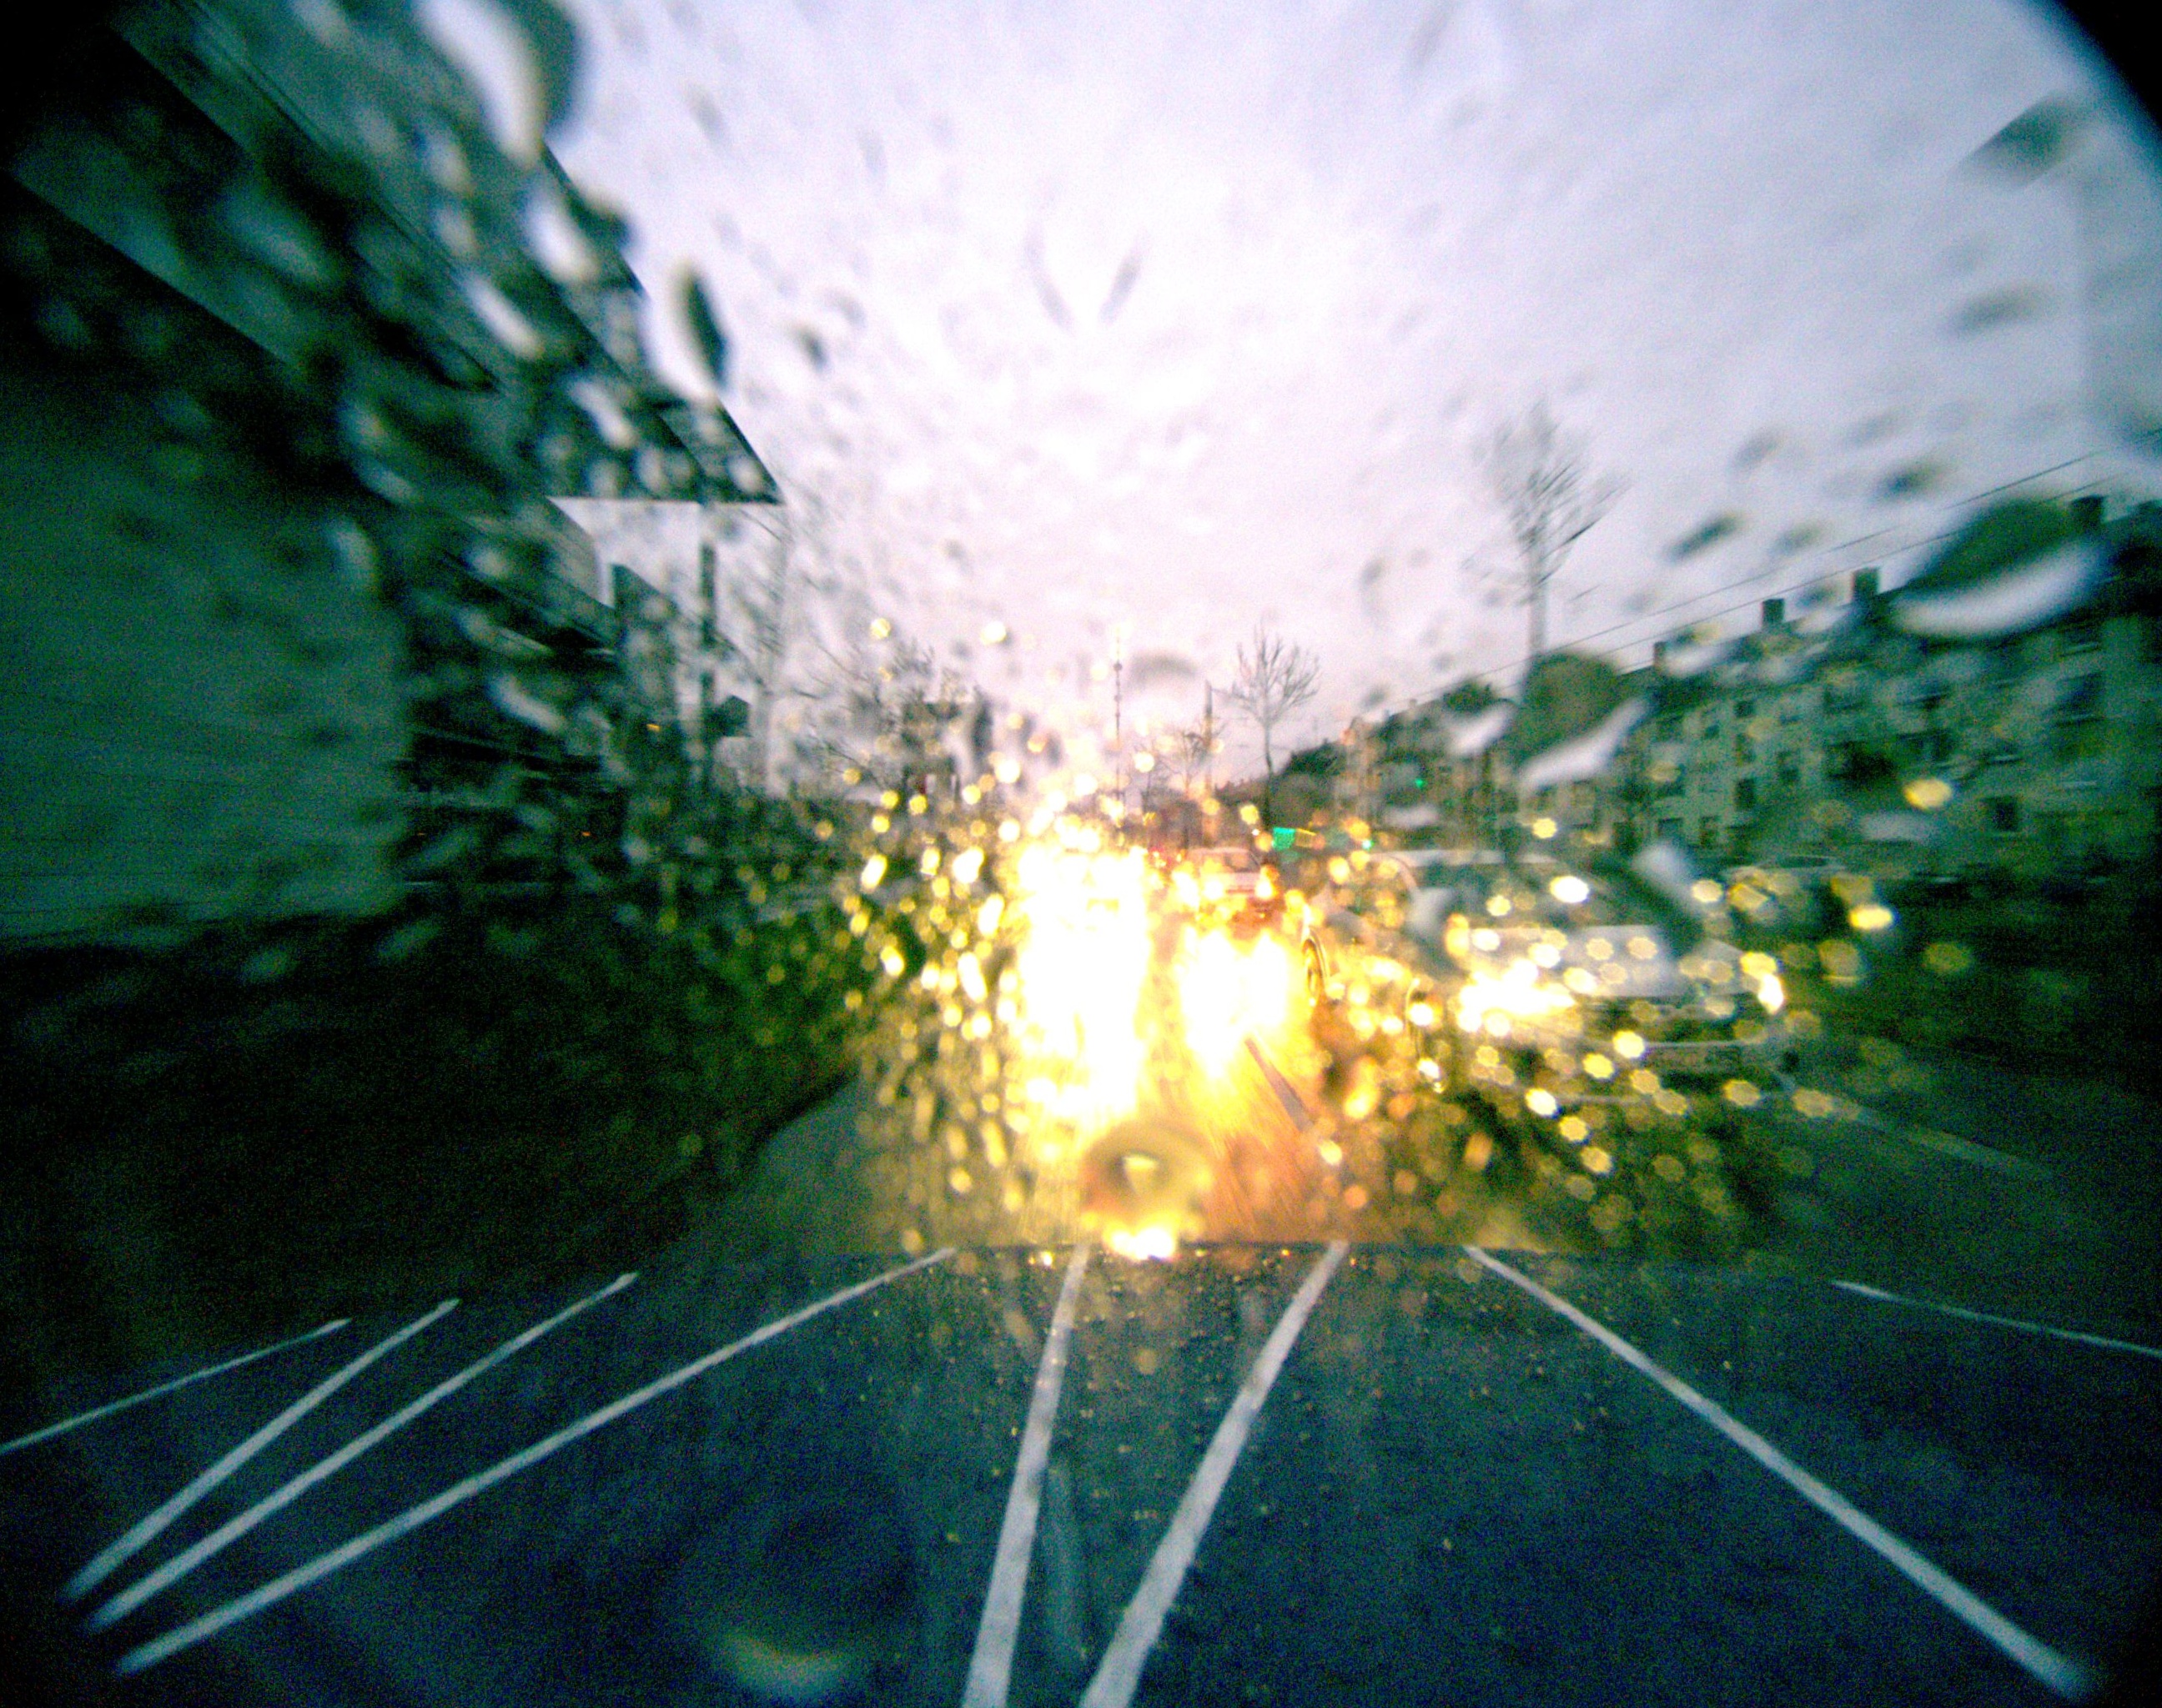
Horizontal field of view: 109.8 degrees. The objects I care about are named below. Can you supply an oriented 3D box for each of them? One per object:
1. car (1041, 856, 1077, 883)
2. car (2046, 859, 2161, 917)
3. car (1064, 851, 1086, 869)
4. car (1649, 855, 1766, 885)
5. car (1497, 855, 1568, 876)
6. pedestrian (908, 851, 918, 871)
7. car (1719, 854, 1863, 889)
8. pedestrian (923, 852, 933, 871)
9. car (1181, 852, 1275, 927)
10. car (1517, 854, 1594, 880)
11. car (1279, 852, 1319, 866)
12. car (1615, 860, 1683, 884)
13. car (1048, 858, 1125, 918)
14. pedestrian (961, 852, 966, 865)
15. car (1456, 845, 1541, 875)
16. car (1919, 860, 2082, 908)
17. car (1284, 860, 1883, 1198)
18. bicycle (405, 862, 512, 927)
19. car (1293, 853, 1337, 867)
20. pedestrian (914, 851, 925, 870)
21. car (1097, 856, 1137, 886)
[{"bbox_3d":[-1.220,0.776,40.832,1.737,1.311,3.802,-2,0,-4],"label":"car"},{"bbox_3d":[28.456,0.877,20.025,3.376,1.413,1.673,-2,1,35],"label":"car"},{"bbox_3d":[-0.533,0.449,61.458,1.538,1.347,3.545,-2,0,-4],"label":"car"},{"bbox_3d":[27.229,0.721,33.141,3.811,1.165,1.741,-2,0,39],"label":"car"},{"bbox_3d":[26.974,0.700,45.522,3.563,1.134,1.740,-2,0,28],"label":"car"},{"bbox_3d":[-15.345,0.638,69.353,0.674,1.767,0.615,-2,1,10],"label":"pedestrian"},{"bbox_3d":[27.927,0.703,30.058,3.834,1.238,1.741,-2,0,30],"label":"car"},{"bbox_3d":[-13.624,0.656,67.720,0.674,1.603,0.615,-2,1,10],"label":"pedestrian"},{"bbox_3d":[3.348,0.746,17.966,1.638,1.510,3.908,-2,0,3],"label":"car"},{"bbox_3d":[26.761,0.732,42.974,3.571,1.301,1.689,-2,0,28],"label":"car"},{"bbox_3d":[24.228,0.589,84.494,4.034,1.223,1.350,-4,1,32],"label":"car"},{"bbox_3d":[27.270,0.871,36.540,2.386,1.042,1.439,-2,-1,28],"label":"car"},{"bbox_3d":[0.058,0.818,19.952,1.670,1.325,3.785,-2,0,-4],"label":"car"},{"bbox_3d":[-15.395,0.552,99.674,0.669,1.646,0.993,0,1,-9],"label":"pedestrian"},{"bbox_3d":[26.910,0.389,49.053,4.647,1.713,1.836,-2,0,30],"label":"car"},{"bbox_3d":[28.211,0.900,23.448,2.929,1.328,1.741,-2,0,40],"label":"car"},{"bbox_3d":[2.871,0.832,5.524,1.692,1.465,4.001,-2,0,0],"label":"car"},{"bbox_3d":[-13.400,0.847,16.416,0.411,1.277,1.747,-2,1,23],"label":"bicycle"},{"bbox_3d":[25.001,0.654,81.136,4.095,1.154,1.715,-4,1,35],"label":"car"},{"bbox_3d":[-13.929,0.544,65.684,0.674,1.616,0.615,-2,1,11],"label":"pedestrian"},{"bbox_3d":[2.000,0.923,42.842,1.905,1.475,3.654,-2,0,-2],"label":"car"}]
